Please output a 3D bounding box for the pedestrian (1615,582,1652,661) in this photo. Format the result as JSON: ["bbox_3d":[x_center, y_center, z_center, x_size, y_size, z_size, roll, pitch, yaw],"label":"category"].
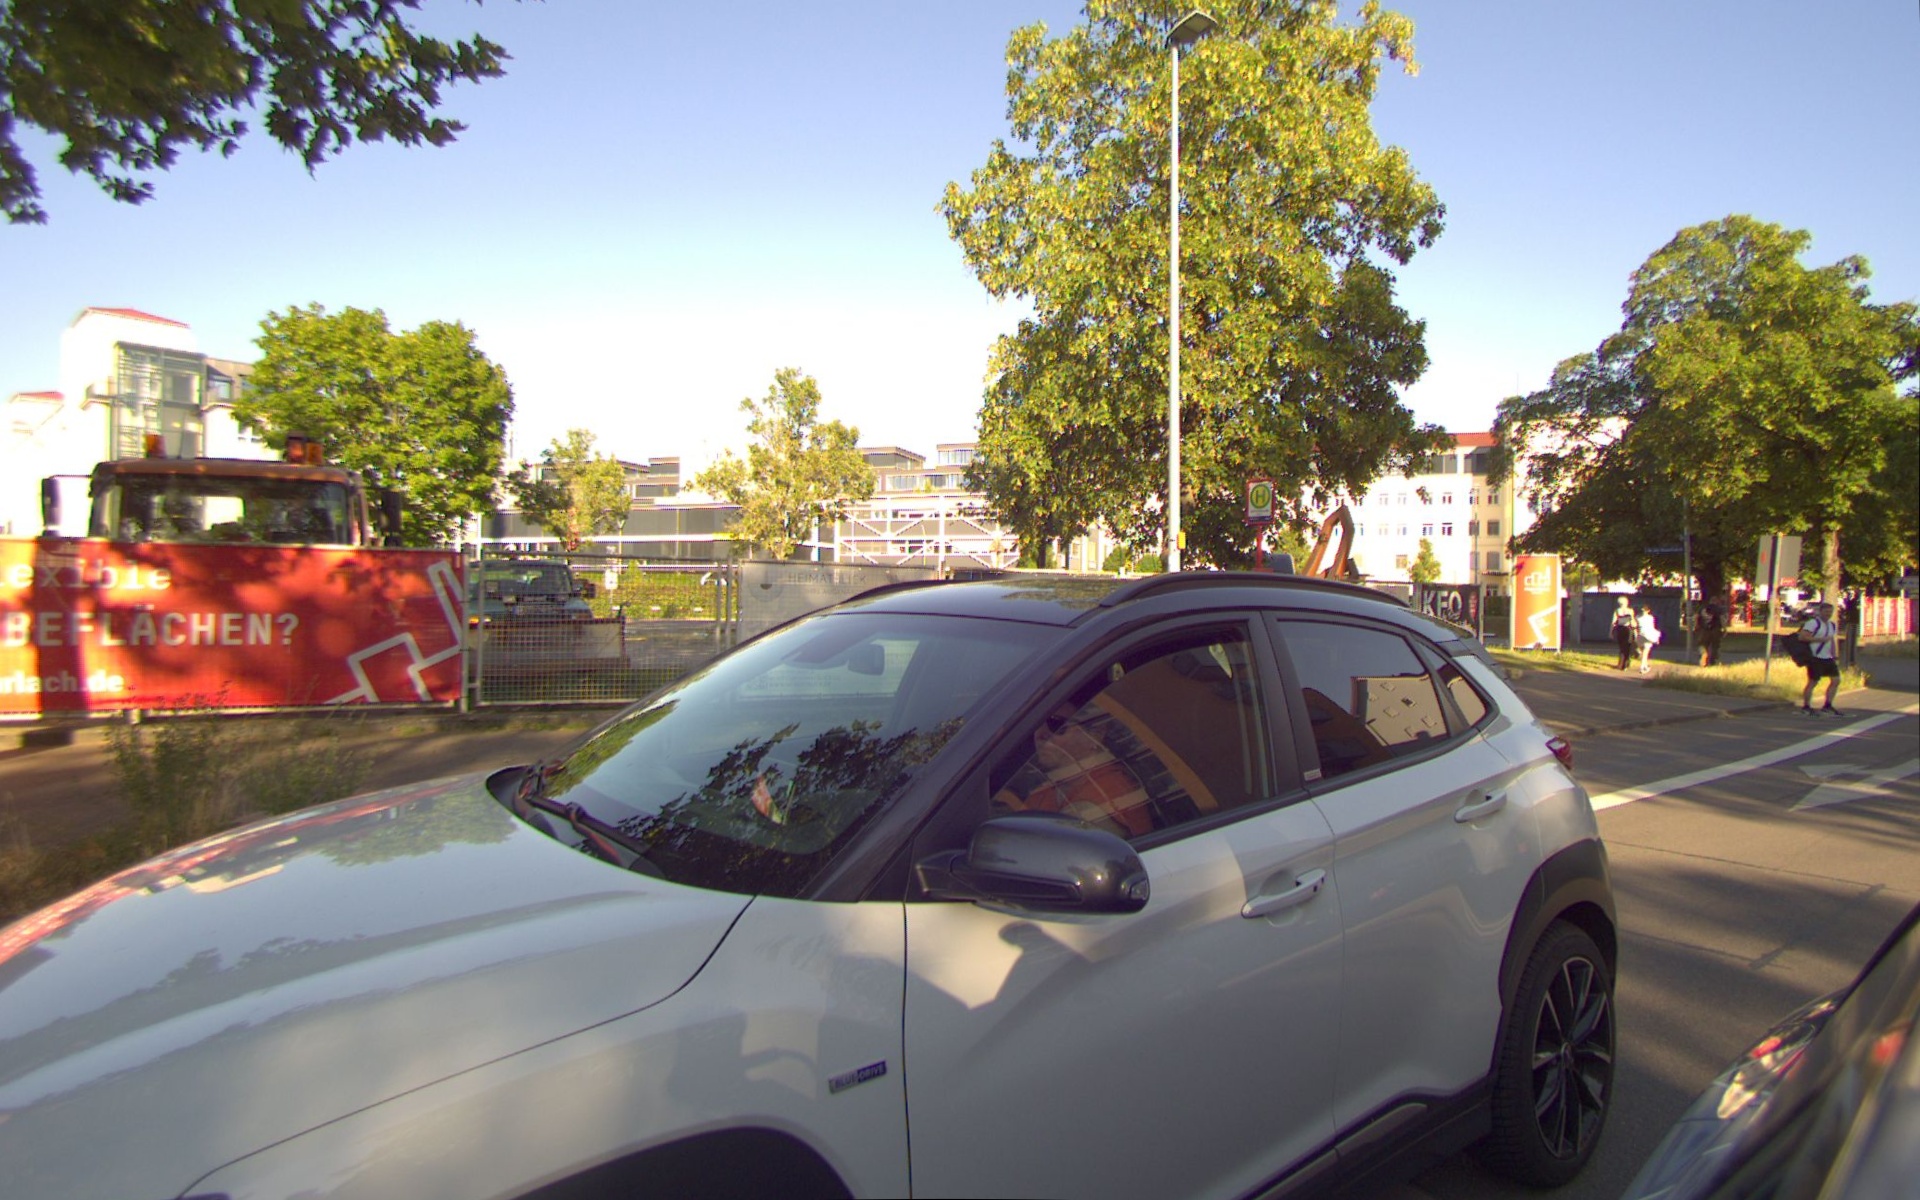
[{"bbox_3d":[15.313,0.483,23.017,0.607,1.759,0.629,0,0,44],"label":"pedestrian"}]

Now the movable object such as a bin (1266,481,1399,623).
[{"bbox_3d":[15.528,-1.885,42.772,3.910,5.547,6.022,0,0,6],"label":"movable object such as a bin"}]

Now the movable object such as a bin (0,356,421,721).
[{"bbox_3d":[-8.384,-0.551,12.063,3.154,3.087,6.295,0,0,-31],"label":"movable object such as a bin"}]

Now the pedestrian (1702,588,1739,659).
[{"bbox_3d":[18.352,0.558,24.434,0.692,1.689,0.630,0,0,37],"label":"pedestrian"}]

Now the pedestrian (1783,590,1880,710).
[{"bbox_3d":[13.354,0.732,15.550,0.894,1.759,1.078,0,0,28],"label":"pedestrian"}]

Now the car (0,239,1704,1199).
[{"bbox_3d":[0.037,0.628,2.411,3.893,1.618,1.894,3,-2,-39],"label":"car"}]

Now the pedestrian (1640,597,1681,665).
[{"bbox_3d":[15.340,0.673,22.162,0.627,1.452,0.609,0,0,-40],"label":"pedestrian"}]

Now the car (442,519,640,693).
[{"bbox_3d":[-5.661,0.040,13.302,2.001,1.851,4.612,0,0,-28],"label":"car"}]
